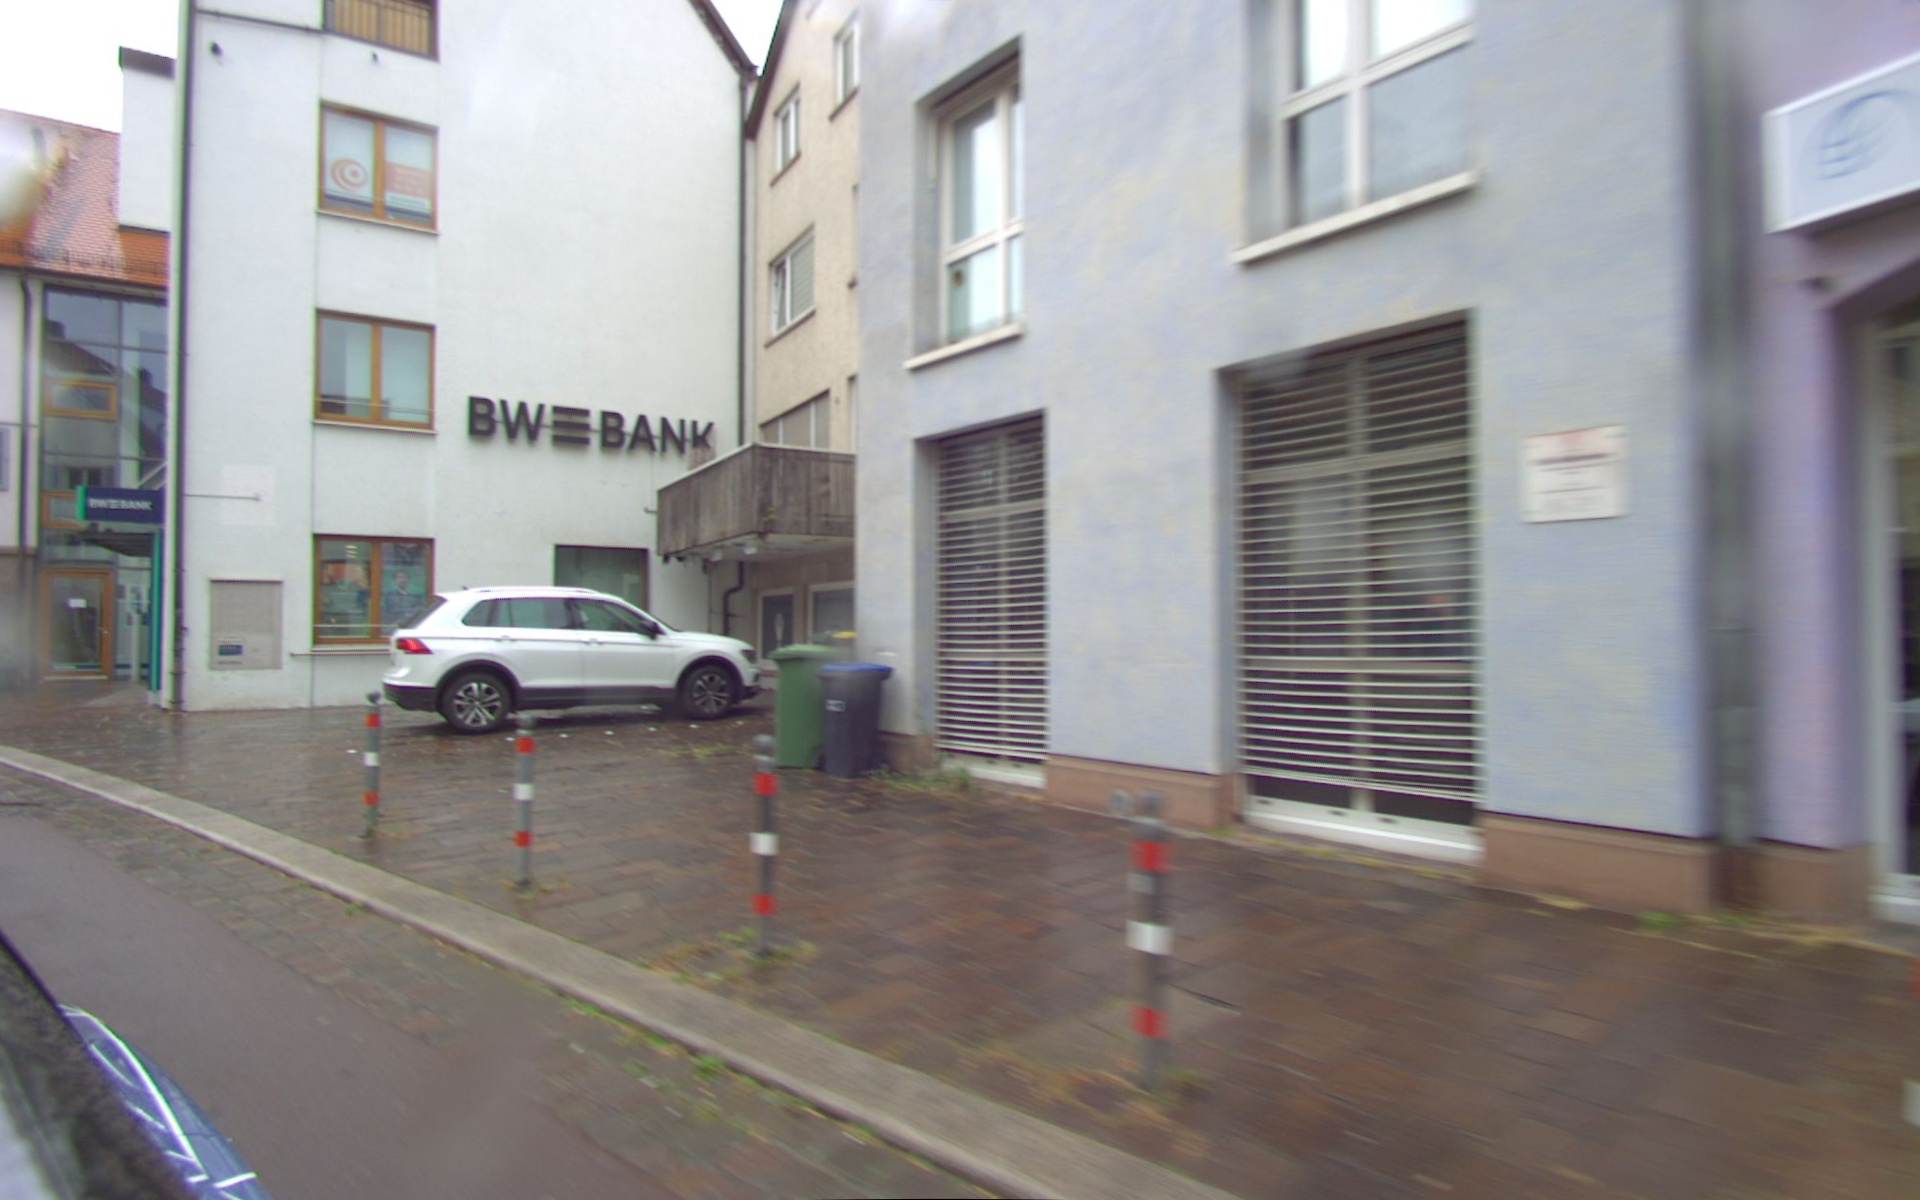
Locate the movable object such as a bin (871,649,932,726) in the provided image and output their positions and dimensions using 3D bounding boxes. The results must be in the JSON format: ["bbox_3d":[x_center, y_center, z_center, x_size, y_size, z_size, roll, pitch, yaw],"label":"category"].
[{"bbox_3d":[-0.716,1.055,12.315,0.534,0.875,0.532,1,0,-35],"label":"movable object such as a bin"}]

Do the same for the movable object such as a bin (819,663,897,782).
[{"bbox_3d":[-0.836,0.986,8.300,0.449,0.902,0.455,0,0,40],"label":"movable object such as a bin"}]

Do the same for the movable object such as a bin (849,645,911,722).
[{"bbox_3d":[-1.014,1.039,12.796,0.581,0.902,0.568,1,0,-34],"label":"movable object such as a bin"}]

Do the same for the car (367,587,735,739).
[{"bbox_3d":[-4.976,0.674,12.433,3.931,1.595,1.838,1,0,-32],"label":"car"}]

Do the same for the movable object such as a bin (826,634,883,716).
[{"bbox_3d":[-1.383,0.972,13.241,0.534,1.019,0.531,1,0,-37],"label":"movable object such as a bin"}]

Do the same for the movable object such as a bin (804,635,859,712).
[{"bbox_3d":[-1.742,0.985,13.720,0.534,0.998,0.531,1,0,-37],"label":"movable object such as a bin"}]

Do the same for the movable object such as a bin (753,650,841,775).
[{"bbox_3d":[-1.405,0.946,8.711,0.572,0.996,0.482,0,0,39],"label":"movable object such as a bin"}]
